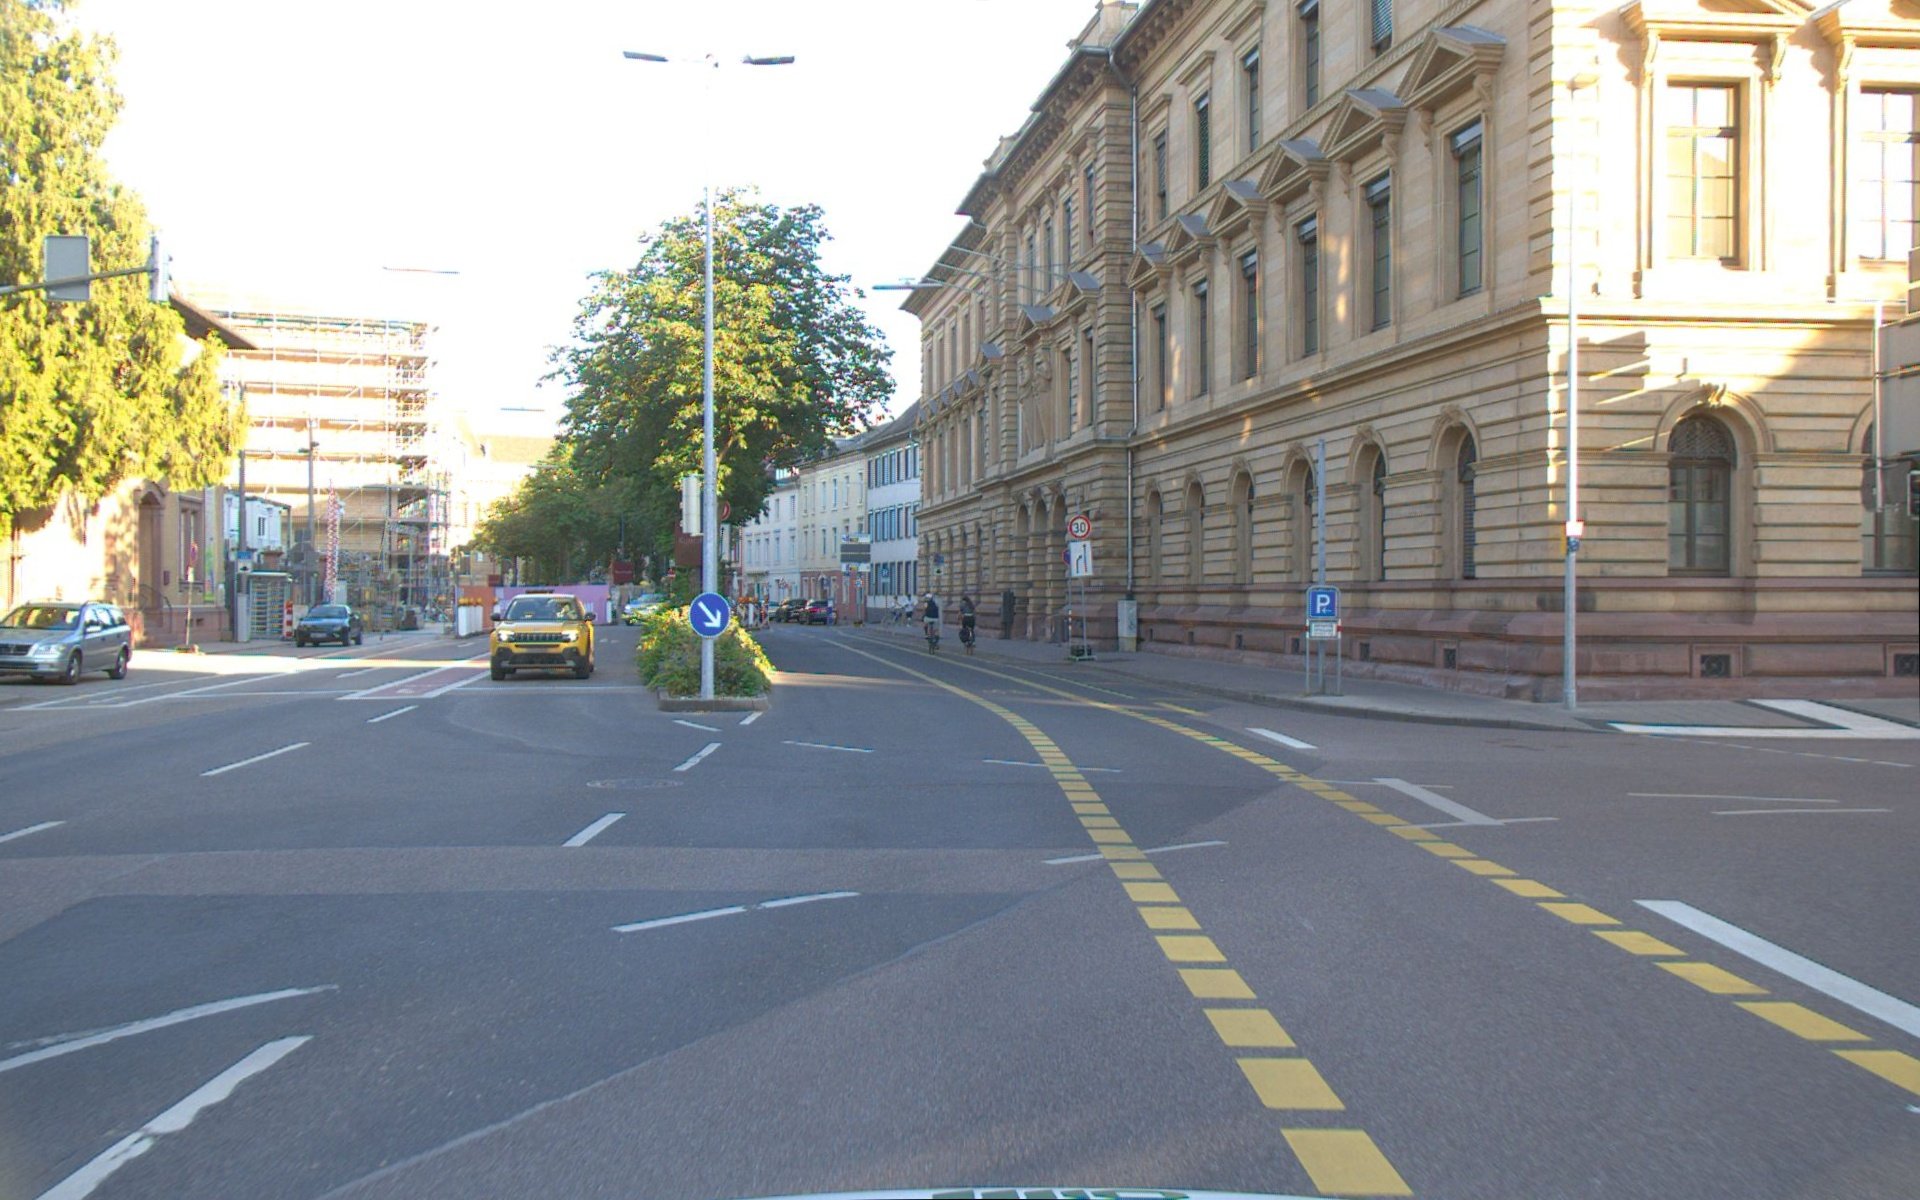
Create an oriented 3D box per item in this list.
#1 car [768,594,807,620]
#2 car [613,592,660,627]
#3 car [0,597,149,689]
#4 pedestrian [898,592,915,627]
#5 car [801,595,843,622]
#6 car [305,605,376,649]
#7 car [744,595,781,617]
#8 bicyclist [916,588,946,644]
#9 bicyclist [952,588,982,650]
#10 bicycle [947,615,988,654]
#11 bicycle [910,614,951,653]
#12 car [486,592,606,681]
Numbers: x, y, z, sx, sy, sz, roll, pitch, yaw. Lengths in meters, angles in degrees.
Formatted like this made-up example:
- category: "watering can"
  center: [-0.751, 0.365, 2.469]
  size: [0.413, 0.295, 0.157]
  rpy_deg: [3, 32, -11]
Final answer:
- category: "car"
  center: [-11.968, 0.483, 114.528]
  size: [1.786, 1.713, 3.976]
  rpy_deg: [0, 0, -20]
- category: "car"
  center: [-16.445, 0.482, 84.293]
  size: [1.806, 1.703, 4.552]
  rpy_deg: [-1, 0, -4]
- category: "car"
  center: [-16.813, 0.749, 30.909]
  size: [1.712, 1.574, 4.360]
  rpy_deg: [1, 0, -9]
- category: "pedestrian"
  center: [-2.785, 0.513, 86.135]
  size: [0.801, 1.796, 1.037]
  rpy_deg: [1, 0, -5]
- category: "car"
  center: [-8.937, 0.571, 106.866]
  size: [1.785, 1.712, 3.896]
  rpy_deg: [0, 0, -20]
- category: "car"
  center: [-20.747, 0.872, 55.496]
  size: [1.650, 1.375, 3.875]
  rpy_deg: [-1, 0, -12]
- category: "car"
  center: [-14.651, 0.421, 122.536]
  size: [1.787, 1.587, 3.840]
  rpy_deg: [1, 0, -21]
- category: "bicyclist"
  center: [-0.850, 0.459, 47.729]
  size: [0.658, 1.593, 0.695]
  rpy_deg: [2, -1, -17]
- category: "bicyclist"
  center: [0.203, 0.565, 49.013]
  size: [0.638, 1.791, 0.861]
  rpy_deg: [2, 0, -14]
- category: "bicycle"
  center: [0.218, 1.003, 48.939]
  size: [0.642, 1.089, 2.249]
  rpy_deg: [2, -1, -14]
- category: "bicycle"
  center: [-0.863, 0.961, 47.772]
  size: [0.659, 1.089, 1.892]
  rpy_deg: [2, -1, -17]
- category: "car"
  center: [-7.806, 0.645, 31.509]
  size: [1.811, 1.574, 4.111]
  rpy_deg: [0, 0, -8]
